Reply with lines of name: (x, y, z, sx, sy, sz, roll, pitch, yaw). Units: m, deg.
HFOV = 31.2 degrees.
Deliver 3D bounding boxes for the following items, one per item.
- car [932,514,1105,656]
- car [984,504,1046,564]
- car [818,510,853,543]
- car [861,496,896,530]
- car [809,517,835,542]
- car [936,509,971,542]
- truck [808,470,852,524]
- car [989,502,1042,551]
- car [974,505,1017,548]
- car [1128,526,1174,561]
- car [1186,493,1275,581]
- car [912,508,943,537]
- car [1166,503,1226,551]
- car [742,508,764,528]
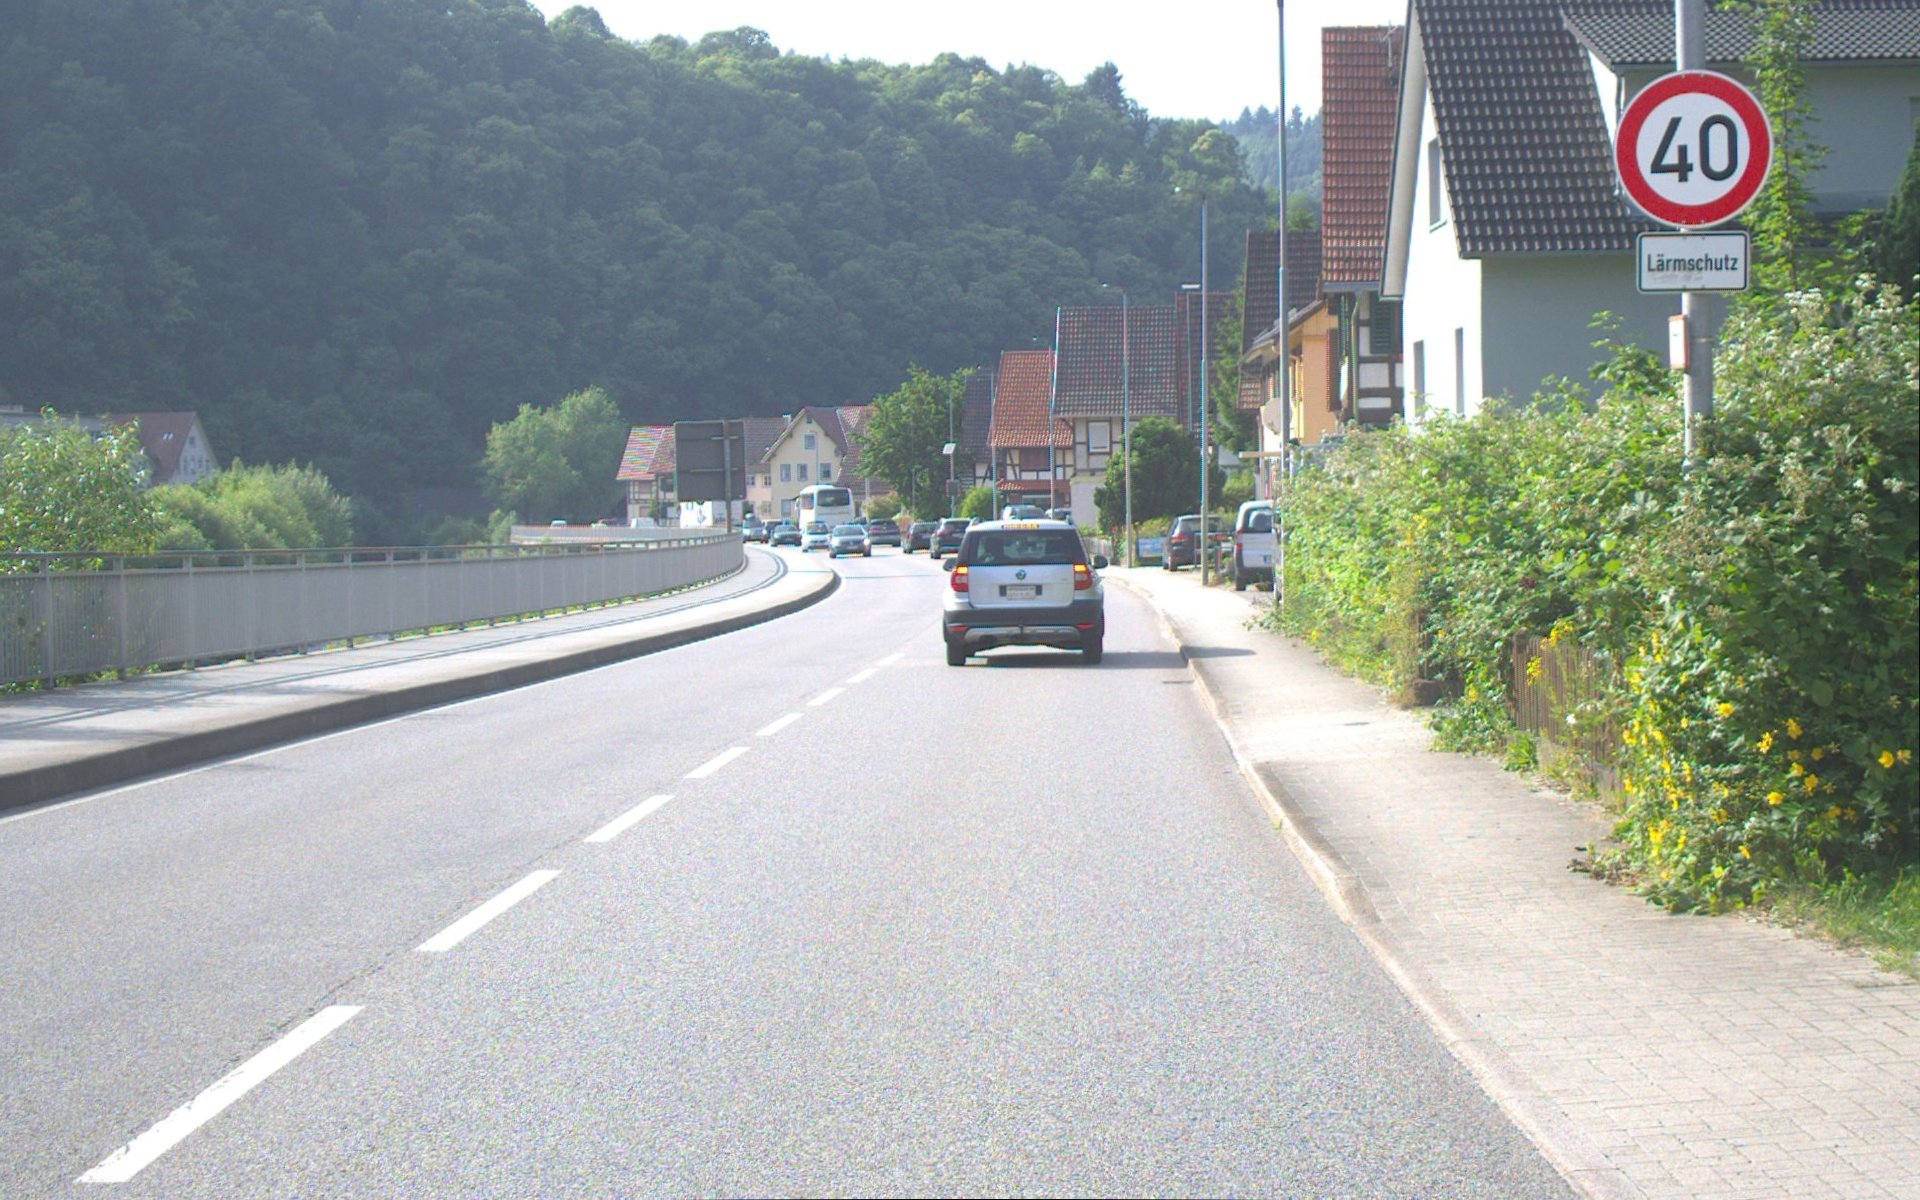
car: (0.738, -0.210, 39.988, 1.861, 1.539, 4.373, -1, 1, 3)
car: (1.465, -1.759, 92.099, 1.622, 1.536, 3.278, -1, 0, 1)
car: (-5.480, -3.260, 151.420, 1.433, 1.379, 3.136, -1, 2, -4)
car: (-4.459, -4.780, 188.366, 1.674, 1.746, 3.448, -1, 2, 2)
car: (-7.321, -3.759, 182.726, 1.364, 1.273, 3.083, -1, 0, -2)
car: (-0.277, -2.977, 138.103, 1.364, 1.273, 3.083, -1, 0, -1)
truck: (-8.311, -6.628, 220.113, 2.728, 3.363, 6.479, -1, 2, -2)
car: (1.713, -2.273, 106.453, 1.610, 1.454, 3.346, -1, 0, 1)
car: (1.241, -2.560, 120.393, 1.479, 1.454, 3.083, -1, 0, 0)
car: (5.525, -1.639, 99.399, 1.296, 0.971, 2.922, -1, 0, 3)
car: (5.280, -1.207, 66.834, 1.610, 1.640, 3.650, -1, 0, 6)
car: (-1.496, -3.544, 158.374, 1.364, 1.273, 3.083, -1, 0, -1)
car: (6.295, -1.927, 91.441, 1.544, 1.212, 3.277, -1, 0, 4)
car: (-14.412, -5.719, 239.545, 1.364, 1.273, 3.083, -1, 0, -6)
